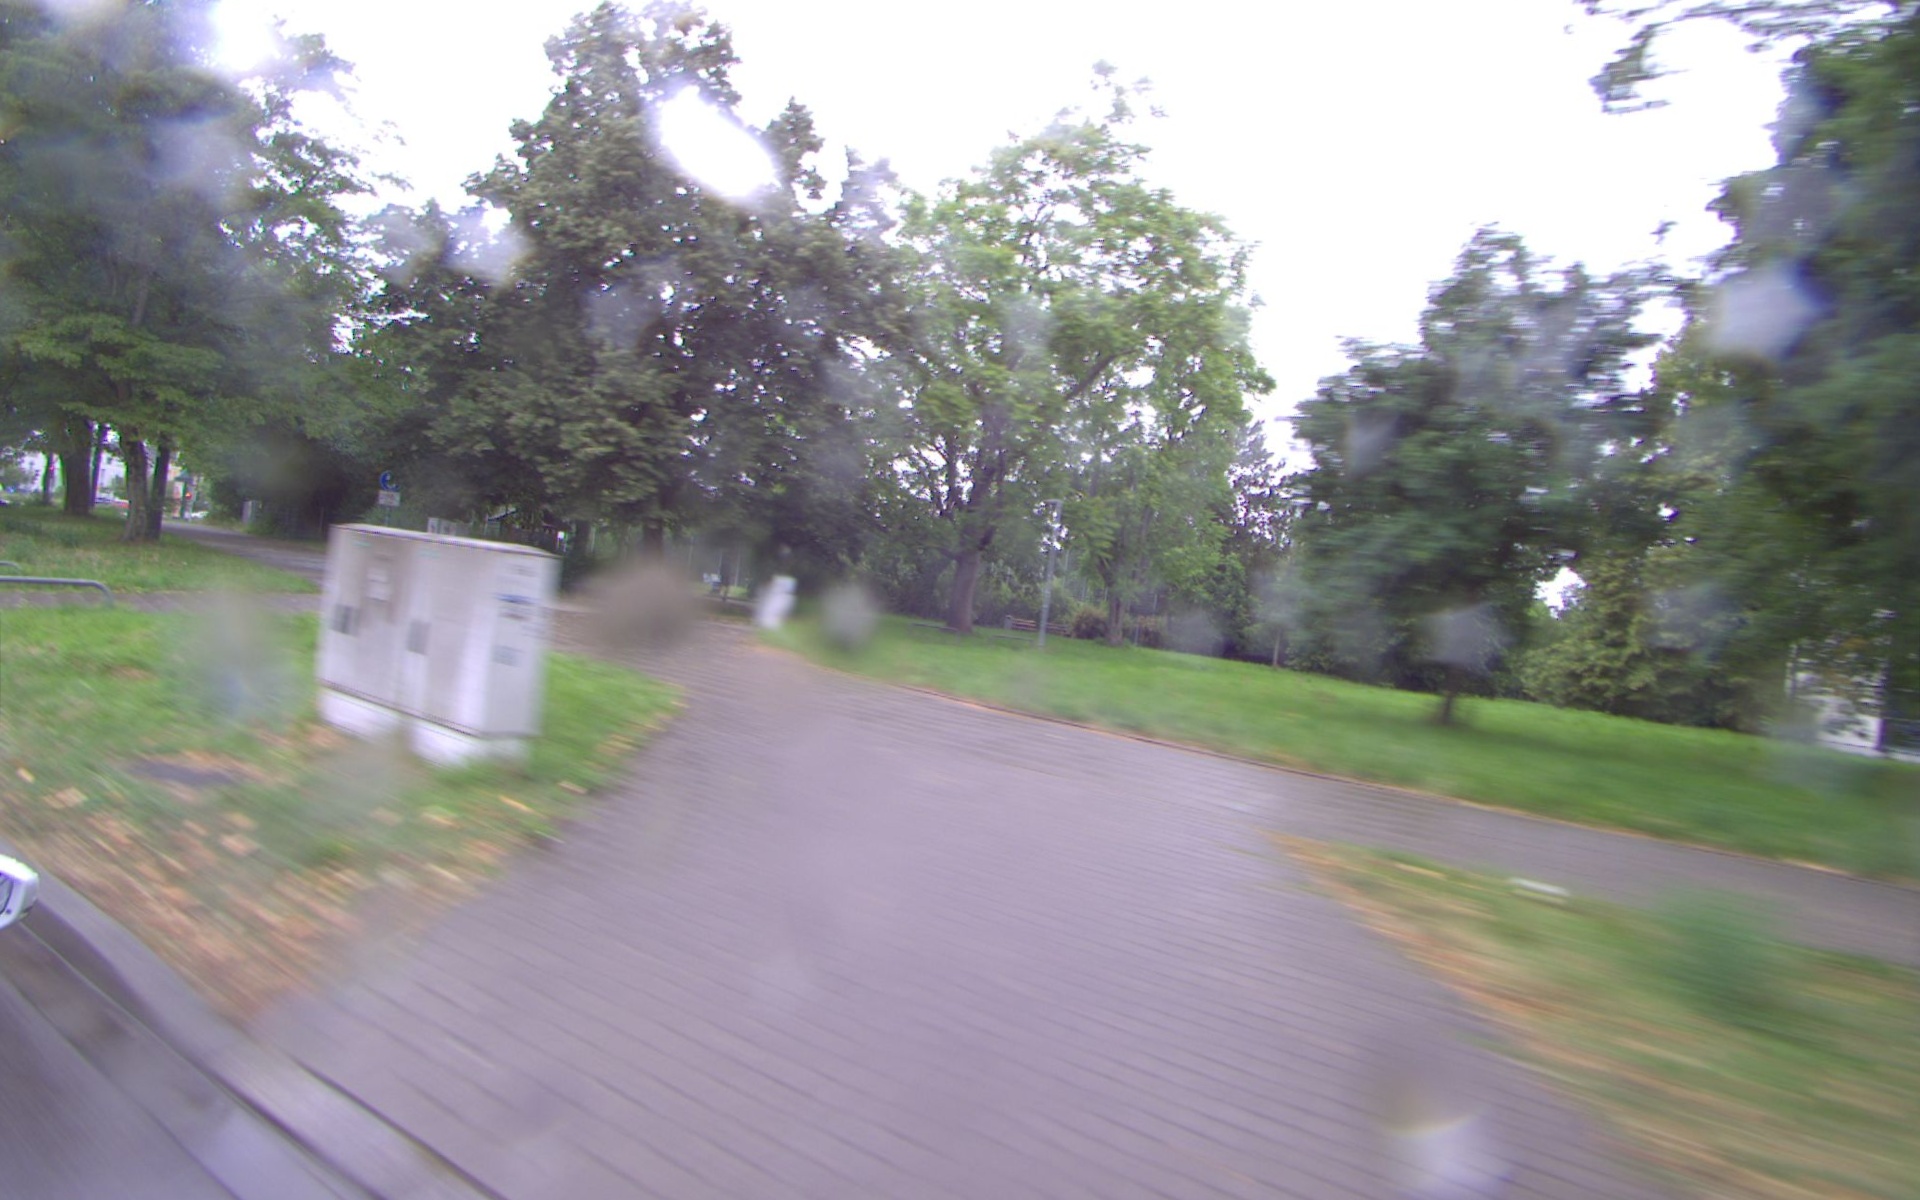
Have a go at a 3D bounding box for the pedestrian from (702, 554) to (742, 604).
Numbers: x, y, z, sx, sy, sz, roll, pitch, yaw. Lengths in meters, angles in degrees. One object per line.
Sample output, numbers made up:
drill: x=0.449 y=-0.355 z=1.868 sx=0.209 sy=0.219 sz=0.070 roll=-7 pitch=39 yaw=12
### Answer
pedestrian: x=-9.078 y=-0.797 z=38.424 sx=0.842 sy=1.716 sz=1.031 roll=7 pitch=1 yaw=38

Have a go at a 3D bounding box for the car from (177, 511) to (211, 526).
car: x=-124.313 y=-13.213 z=163.287 sx=4.118 sy=1.882 sz=1.654 roll=7 pitch=0 yaw=-41
